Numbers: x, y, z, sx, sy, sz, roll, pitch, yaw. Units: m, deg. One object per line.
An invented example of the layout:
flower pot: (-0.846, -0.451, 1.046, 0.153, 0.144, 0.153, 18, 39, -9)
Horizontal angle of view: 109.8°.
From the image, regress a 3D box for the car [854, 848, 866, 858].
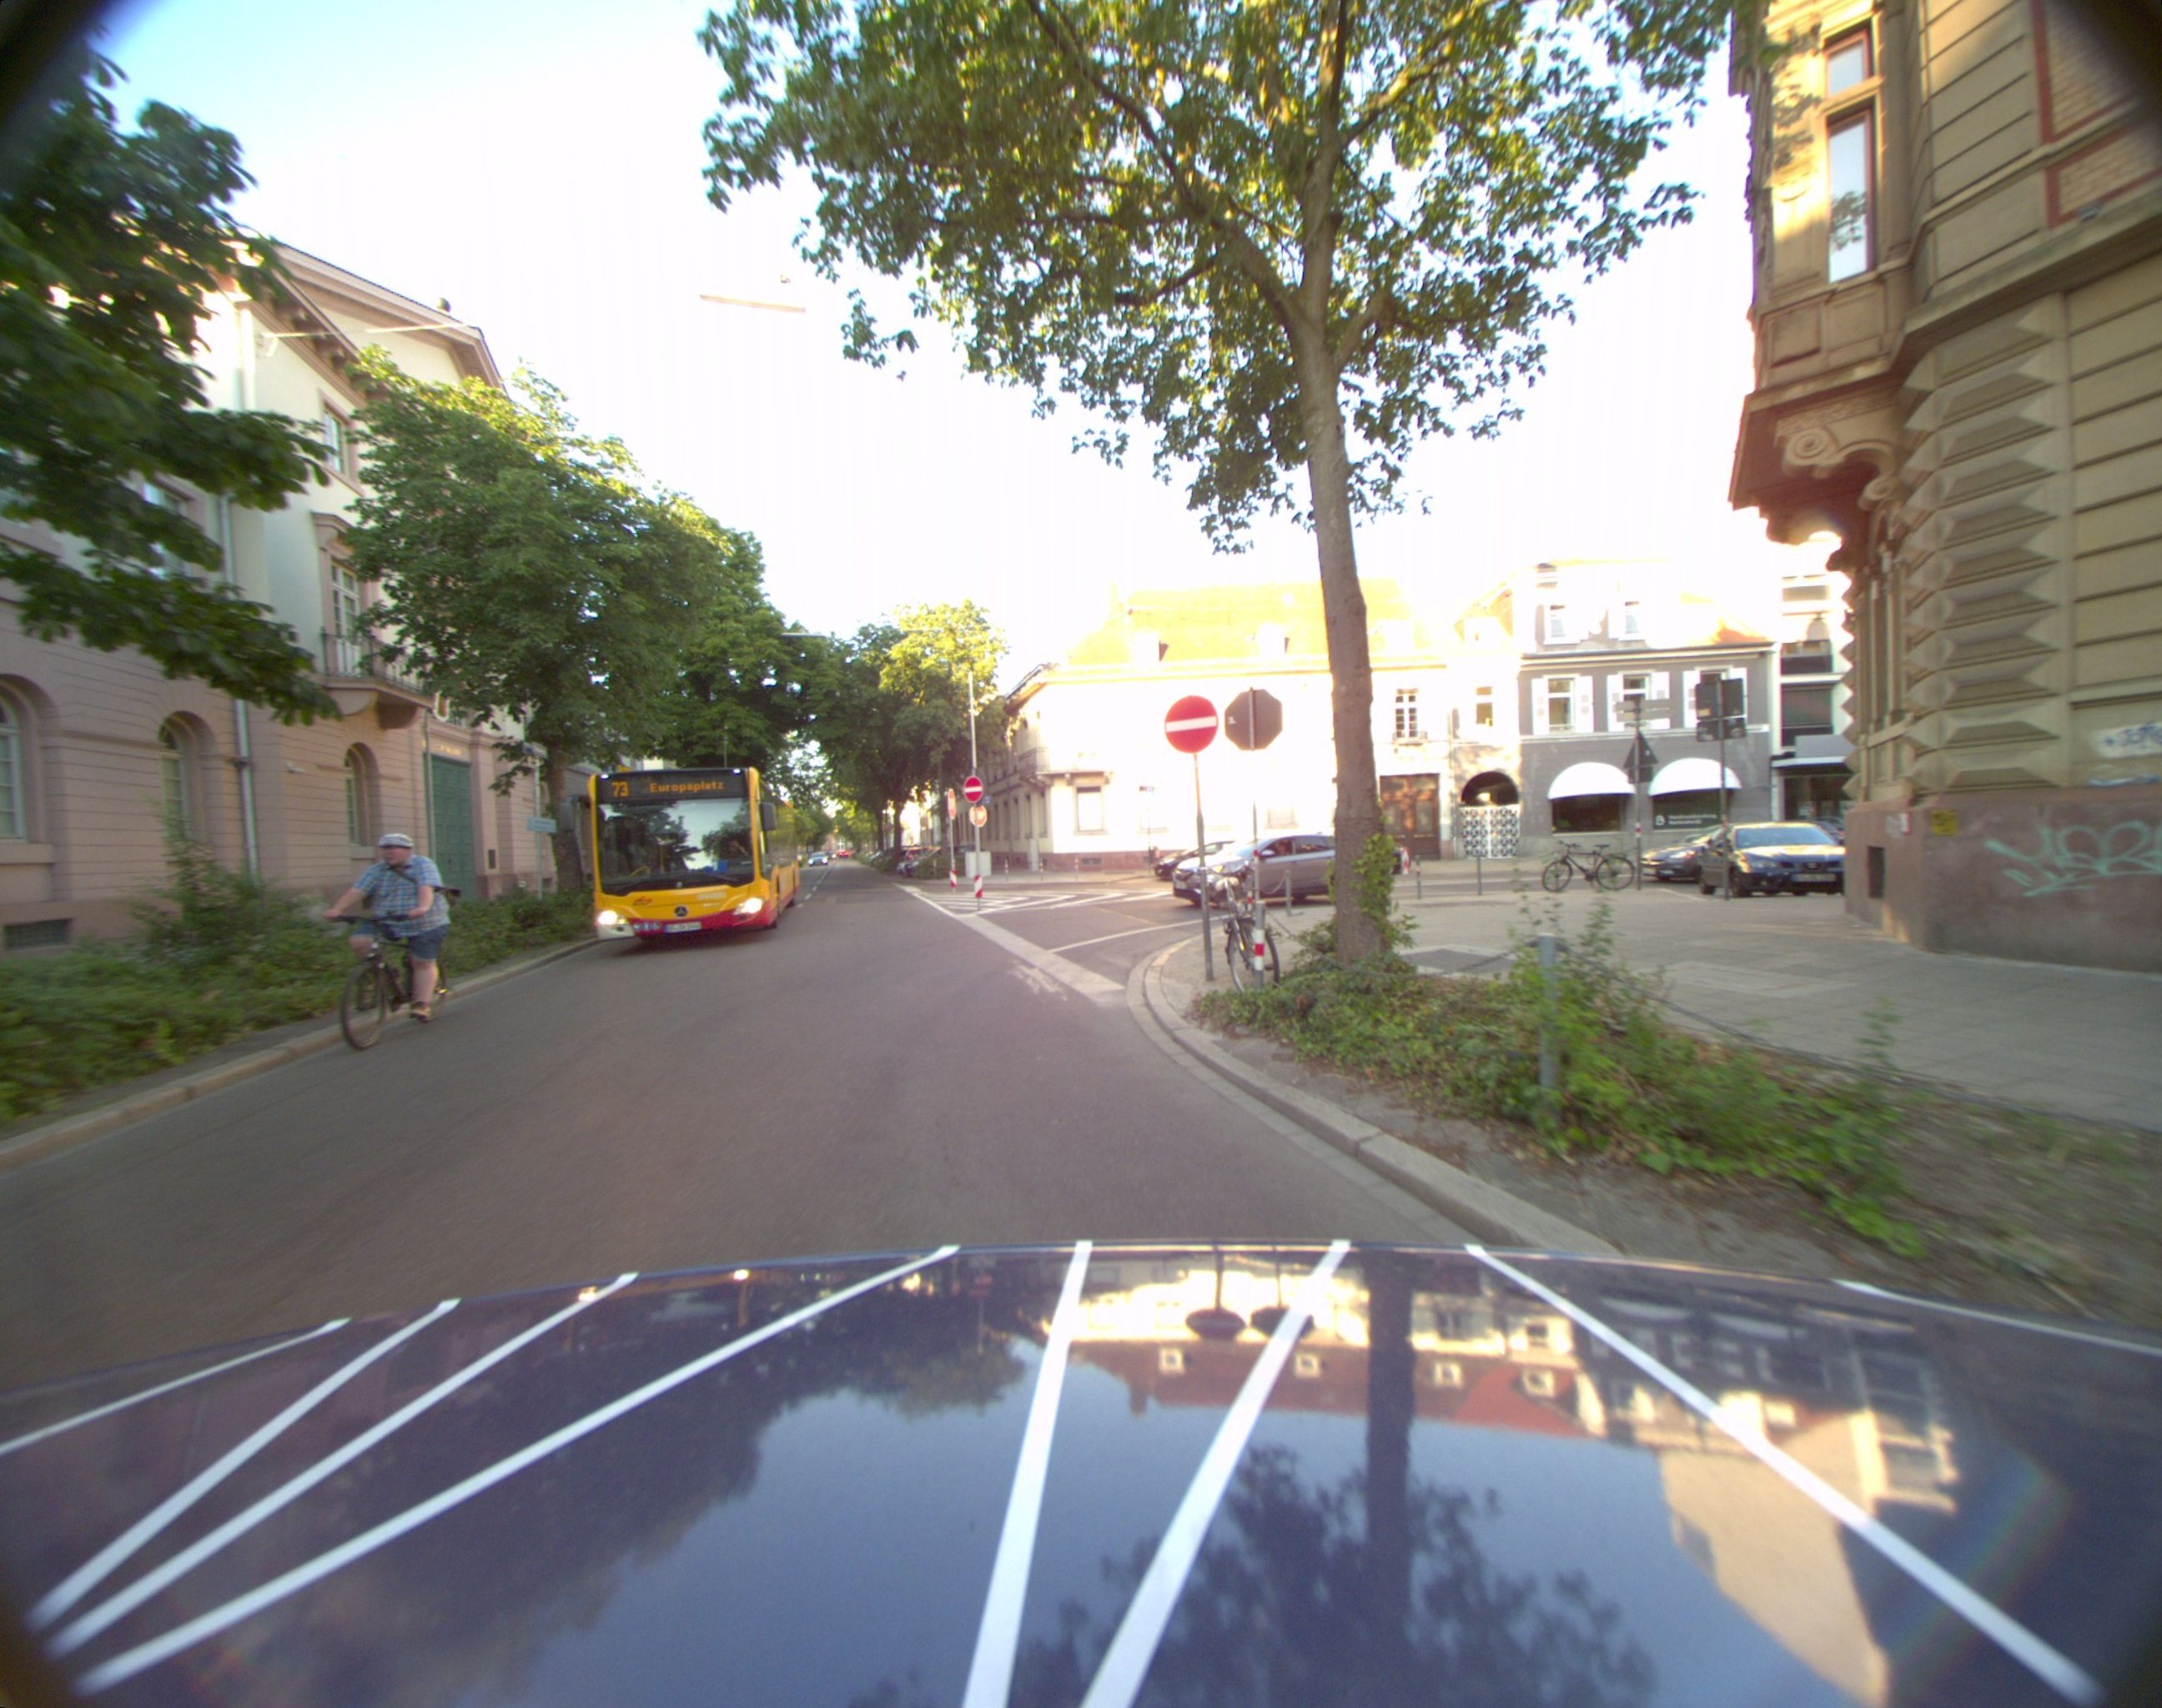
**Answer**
car: (-37.345, -0.212, 128.206, 1.801, 1.502, 3.993, -3, 1, -18)

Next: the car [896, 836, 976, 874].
car: (-8.165, 0.018, 42.796, 4.005, 1.940, 1.996, -3, 2, -25)

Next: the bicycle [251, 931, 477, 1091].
bicycle: (-6.321, 1.308, 6.865, 0.638, 0.978, 1.978, -5, 2, -19)

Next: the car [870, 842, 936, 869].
car: (-12.161, 0.076, 51.818, 4.005, 1.699, 1.996, -3, 2, -25)

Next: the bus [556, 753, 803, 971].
bus: (-8.189, 0.004, 17.397, 2.671, 3.177, 11.878, -4, 2, -17)

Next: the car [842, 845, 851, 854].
car: (-51.786, -0.993, 167.590, 1.846, 1.699, 4.150, -3, 1, -18)

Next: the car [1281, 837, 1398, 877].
car: (9.537, 0.094, 28.261, 3.811, 1.318, 1.834, -2, 1, 8)

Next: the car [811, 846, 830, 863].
car: (-28.239, 0.031, 82.443, 1.846, 1.699, 3.993, -3, 1, -18)

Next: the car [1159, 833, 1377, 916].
car: (4.159, 0.378, 16.971, 4.363, 1.561, 1.944, -2, 2, -19)

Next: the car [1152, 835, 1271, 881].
car: (4.868, 0.128, 28.718, 4.265, 1.521, 1.834, -2, 2, 7)

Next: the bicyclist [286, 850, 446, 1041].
bicyclist: (-6.357, 0.765, 6.814, 0.638, 1.552, 0.817, -5, 2, -19)

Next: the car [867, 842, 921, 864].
car: (-15.367, -0.096, 62.477, 4.005, 1.699, 1.841, -3, 2, -25)

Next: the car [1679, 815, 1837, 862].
car: (24.006, -0.540, 27.067, 3.811, 1.482, 1.834, -2, 1, 8)

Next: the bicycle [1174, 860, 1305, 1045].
bicycle: (1.276, 0.720, 6.618, 0.806, 1.217, 2.418, -6, 0, 7)

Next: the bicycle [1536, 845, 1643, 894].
bicycle: (10.538, 0.331, 15.817, 1.760, 0.965, 0.539, -2, -1, 22)

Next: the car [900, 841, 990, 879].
car: (-6.750, 0.265, 37.820, 4.005, 1.660, 1.796, -3, 2, -25)

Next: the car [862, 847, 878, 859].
car: (-28.417, -0.159, 102.166, 1.801, 1.502, 3.993, -3, 1, -18)

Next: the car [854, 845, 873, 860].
car: (-23.909, -0.176, 83.331, 1.801, 1.502, 3.993, -3, 1, -18)

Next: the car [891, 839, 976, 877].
car: (-7.827, 0.170, 40.313, 4.005, 1.801, 1.796, -3, 2, -25)

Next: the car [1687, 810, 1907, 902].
car: (12.899, 0.092, 14.053, 1.885, 1.421, 4.369, -2, -2, 28)
